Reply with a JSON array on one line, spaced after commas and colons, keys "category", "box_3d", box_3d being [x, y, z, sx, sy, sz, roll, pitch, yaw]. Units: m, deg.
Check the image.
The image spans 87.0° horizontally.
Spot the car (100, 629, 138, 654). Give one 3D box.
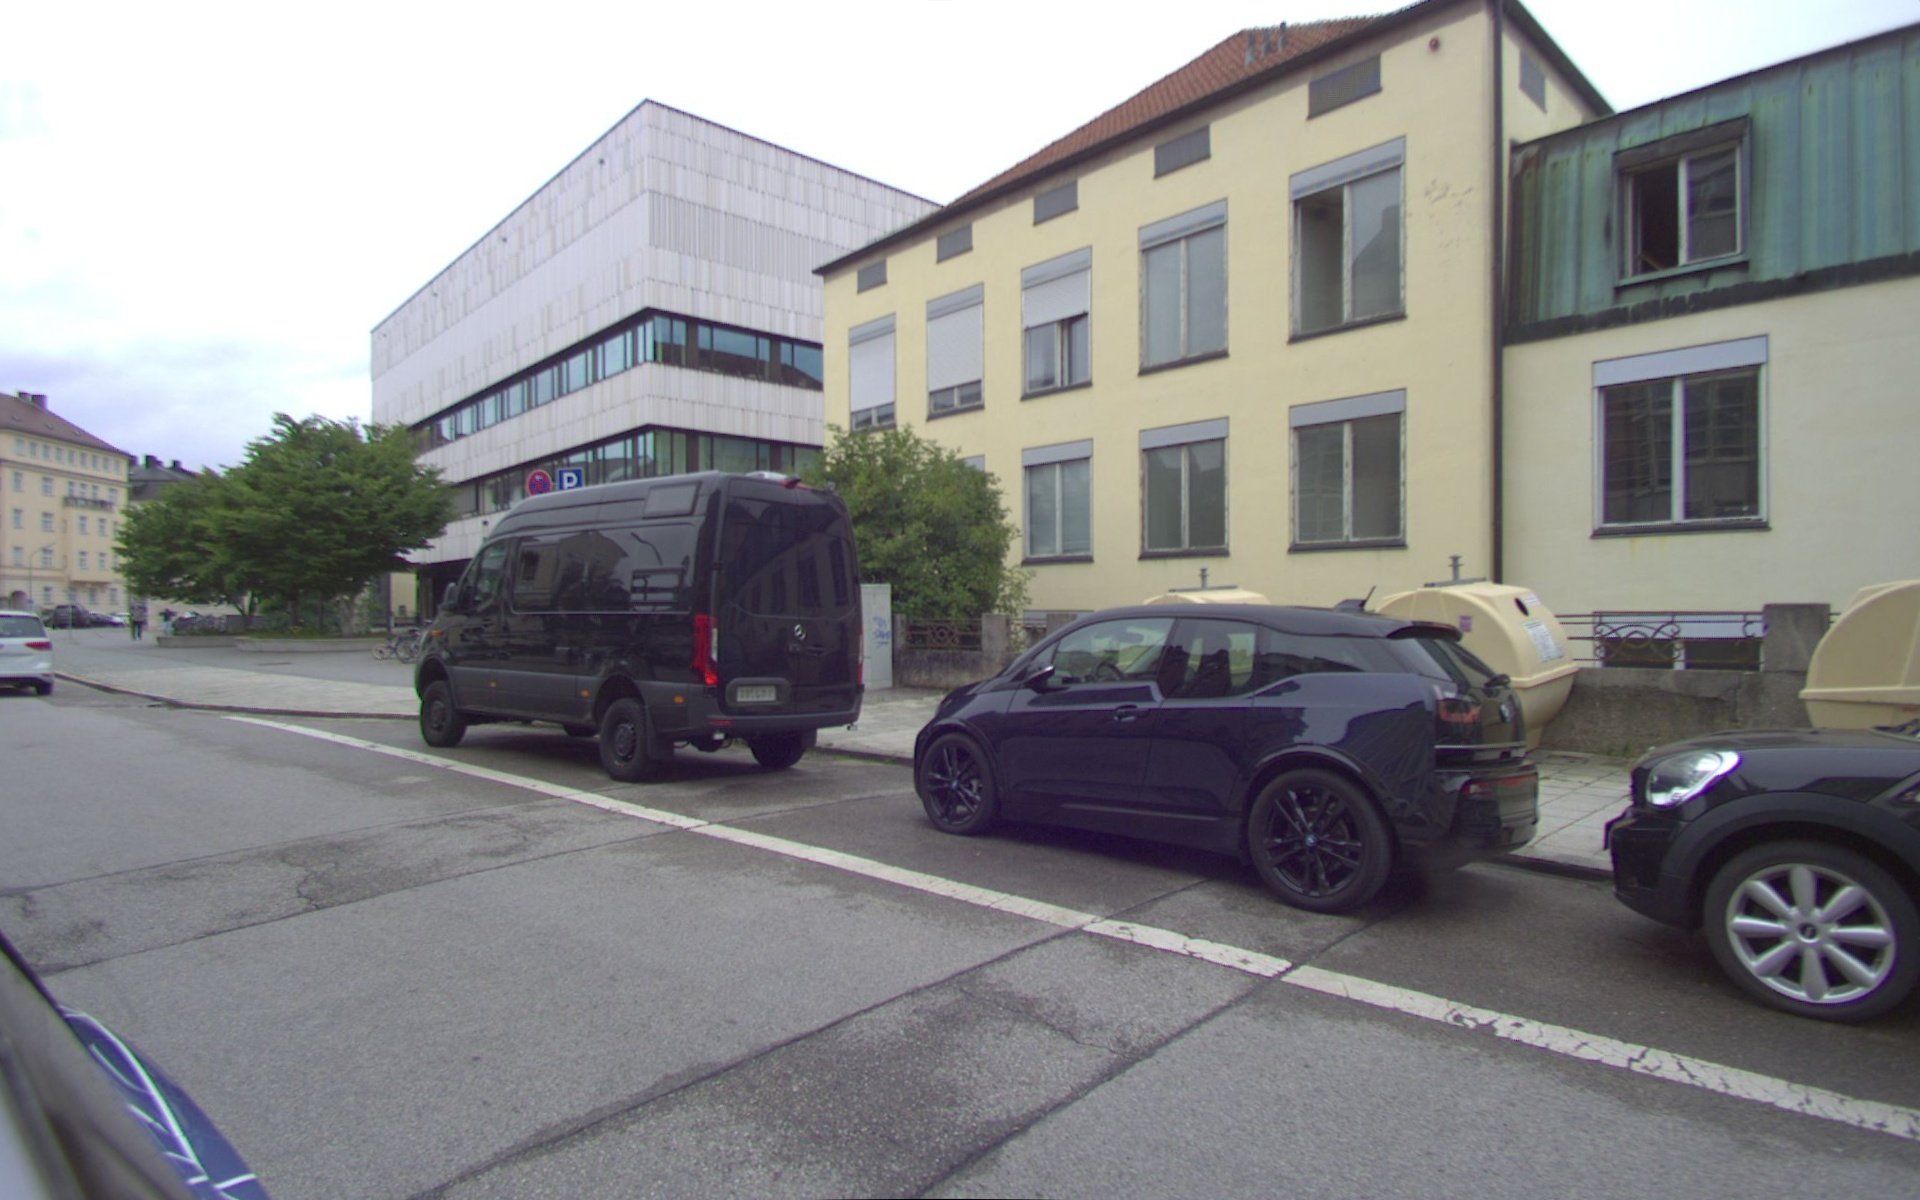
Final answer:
[{"category": "car", "box_3d": [-72.781, 3.589, 87.645, 1.862, 2.029, 4.012, 0, -1, -31]}]

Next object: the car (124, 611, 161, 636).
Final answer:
[{"category": "car", "box_3d": [-79.619, 2.241, 98.637, 1.861, 2.374, 4.013, 0, -1, -24]}]

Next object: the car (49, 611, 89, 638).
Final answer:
[{"category": "car", "box_3d": [-67.980, 1.852, 77.284, 1.863, 2.029, 4.010, 0, -1, -35]}]

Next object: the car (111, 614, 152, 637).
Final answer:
[{"category": "car", "box_3d": [-76.461, 2.352, 93.447, 1.861, 2.029, 4.013, 0, -1, -24]}]

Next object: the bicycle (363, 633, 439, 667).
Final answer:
[{"category": "bicycle", "box_3d": [-16.467, 1.458, 29.827, 0.739, 0.934, 1.826, -1, -1, 42]}]

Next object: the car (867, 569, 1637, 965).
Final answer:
[{"category": "car", "box_3d": [1.533, 0.795, 6.450, 1.858, 1.649, 4.351, 5, -5, -45]}]

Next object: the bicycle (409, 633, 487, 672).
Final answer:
[{"category": "bicycle", "box_3d": [-13.400, 1.362, 26.540, 0.473, 0.970, 1.795, -1, -1, 41]}]

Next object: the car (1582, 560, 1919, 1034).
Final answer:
[{"category": "car", "box_3d": [4.757, 0.702, 3.299, 4.353, 1.599, 1.892, -2, -5, 44]}]

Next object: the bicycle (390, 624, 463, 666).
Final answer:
[{"category": "bicycle", "box_3d": [-15.455, 1.300, 29.350, 0.519, 1.160, 1.790, -1, -1, 44]}]

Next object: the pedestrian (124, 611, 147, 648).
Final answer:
[{"category": "pedestrian", "box_3d": [-41.022, 1.470, 50.363, 0.516, 1.800, 0.777, -1, -1, 40]}]

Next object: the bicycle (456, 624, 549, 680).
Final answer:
[{"category": "bicycle", "box_3d": [-10.544, 1.177, 23.358, 0.497, 1.225, 1.919, -1, -1, 44]}]

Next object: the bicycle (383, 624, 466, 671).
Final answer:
[{"category": "bicycle", "box_3d": [-14.604, 1.267, 27.636, 0.745, 1.202, 1.889, -1, -1, 41]}]

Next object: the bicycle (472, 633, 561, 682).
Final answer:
[{"category": "bicycle", "box_3d": [-10.077, 1.285, 23.050, 0.519, 1.031, 1.790, -1, -1, 44]}]

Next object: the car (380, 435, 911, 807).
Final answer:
[{"category": "car", "box_3d": [-3.571, 0.246, 10.625, 6.190, 2.875, 2.191, -1, -4, 39]}]

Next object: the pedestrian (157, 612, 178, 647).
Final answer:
[{"category": "pedestrian", "box_3d": [-41.260, 1.543, 52.683, 0.516, 1.800, 0.777, -1, -1, 40]}]

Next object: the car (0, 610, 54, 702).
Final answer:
[{"category": "car", "box_3d": [-19.319, 1.042, 19.841, 4.147, 1.686, 1.774, -1, -2, 41]}]

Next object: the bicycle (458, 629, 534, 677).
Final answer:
[{"category": "bicycle", "box_3d": [-11.255, 1.272, 24.583, 0.501, 1.112, 1.635, -1, -1, 43]}]

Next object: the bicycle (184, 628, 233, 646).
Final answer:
[{"category": "bicycle", "box_3d": [-43.704, 2.131, 58.889, 0.796, 0.999, 2.124, -1, -2, 30]}]

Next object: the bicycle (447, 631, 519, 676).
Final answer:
[{"category": "bicycle", "box_3d": [-11.779, 1.305, 25.015, 0.442, 1.019, 1.566, -1, 0, 41]}]

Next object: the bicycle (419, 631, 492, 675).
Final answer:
[{"category": "bicycle", "box_3d": [-12.557, 1.300, 25.221, 1.563, 1.024, 0.443, -1, 0, -40]}]
